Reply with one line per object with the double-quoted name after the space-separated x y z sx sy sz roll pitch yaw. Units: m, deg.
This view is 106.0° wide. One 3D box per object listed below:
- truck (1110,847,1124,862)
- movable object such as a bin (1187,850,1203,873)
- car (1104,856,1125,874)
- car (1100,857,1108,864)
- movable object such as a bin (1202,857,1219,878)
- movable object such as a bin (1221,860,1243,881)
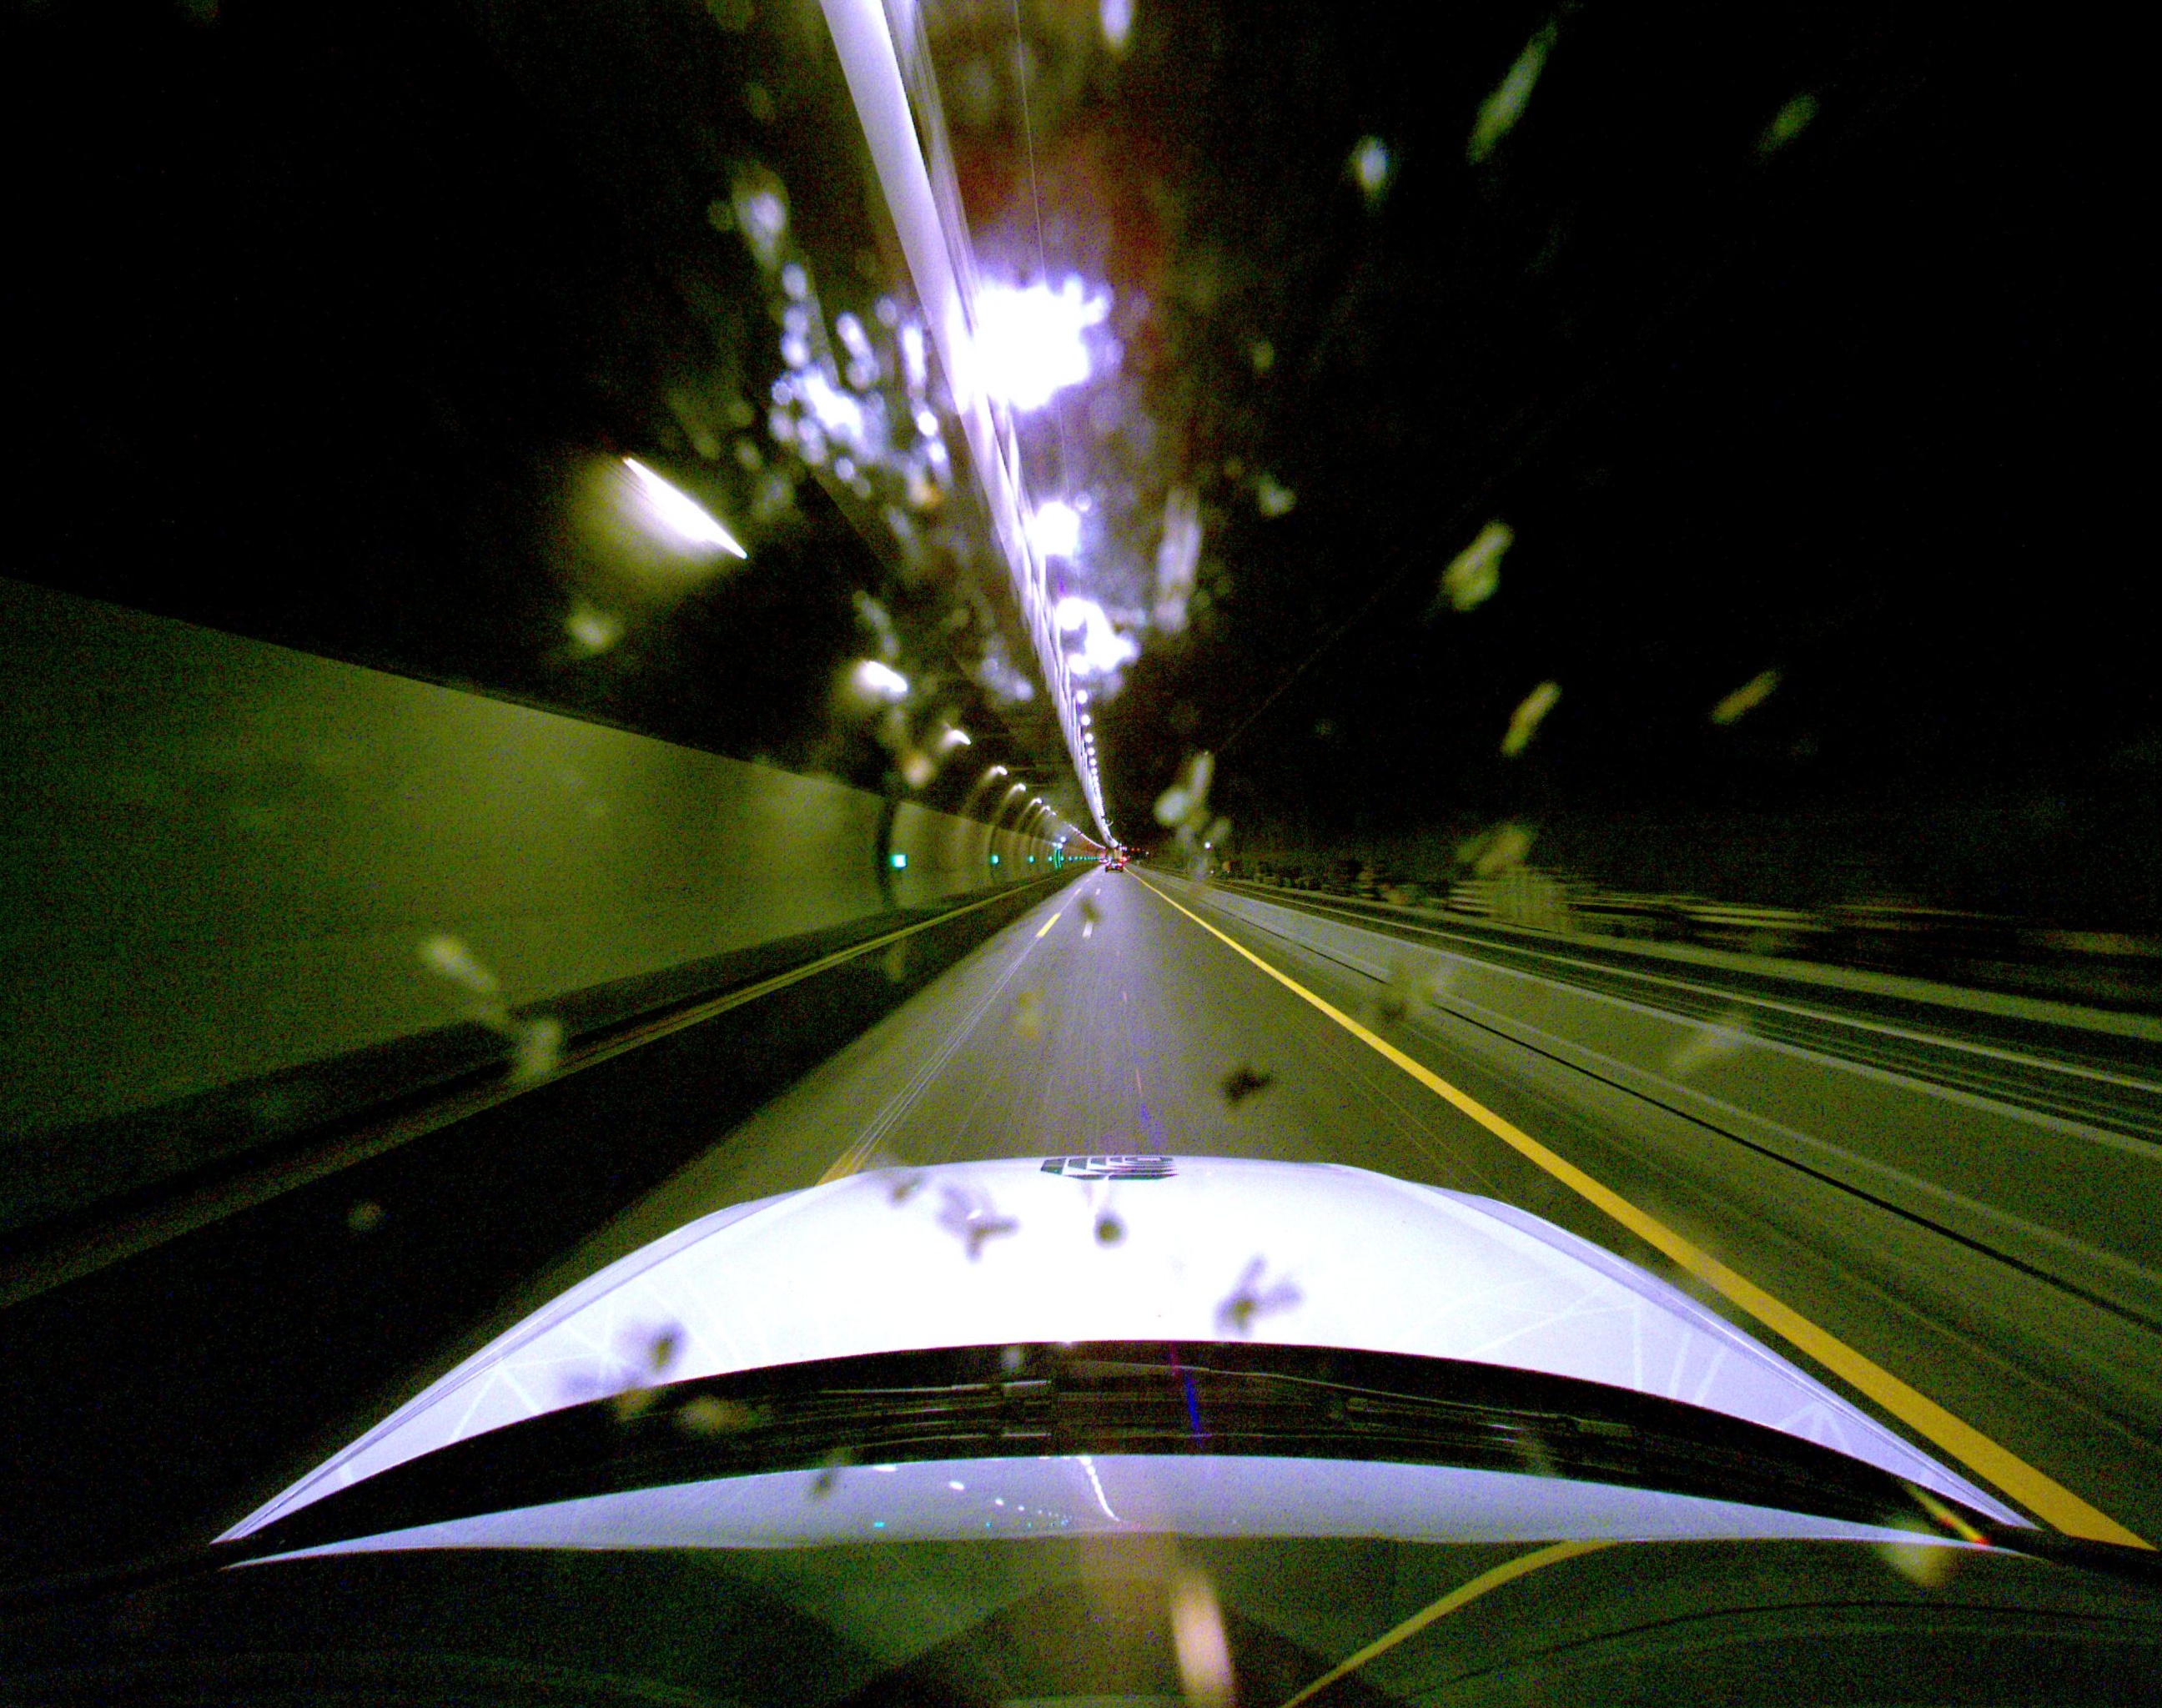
11.706 0.266 264.143 4.050 4.532 14.972 -3 0 2 "truck"
10.755 0.706 77.098 1.230 2.141 2.217 -1 0 1 "movable object such as a bin"
3.500 1.133 86.767 1.941 1.794 3.998 -3 0 -1 "car"
5.593 1.512 197.161 1.922 1.687 4.003 -3 0 3 "car"
11.194 1.167 70.514 1.230 1.718 2.217 -1 0 1 "movable object such as a bin"
10.957 1.194 59.207 1.230 1.442 2.217 -1 0 1 "movable object such as a bin"
